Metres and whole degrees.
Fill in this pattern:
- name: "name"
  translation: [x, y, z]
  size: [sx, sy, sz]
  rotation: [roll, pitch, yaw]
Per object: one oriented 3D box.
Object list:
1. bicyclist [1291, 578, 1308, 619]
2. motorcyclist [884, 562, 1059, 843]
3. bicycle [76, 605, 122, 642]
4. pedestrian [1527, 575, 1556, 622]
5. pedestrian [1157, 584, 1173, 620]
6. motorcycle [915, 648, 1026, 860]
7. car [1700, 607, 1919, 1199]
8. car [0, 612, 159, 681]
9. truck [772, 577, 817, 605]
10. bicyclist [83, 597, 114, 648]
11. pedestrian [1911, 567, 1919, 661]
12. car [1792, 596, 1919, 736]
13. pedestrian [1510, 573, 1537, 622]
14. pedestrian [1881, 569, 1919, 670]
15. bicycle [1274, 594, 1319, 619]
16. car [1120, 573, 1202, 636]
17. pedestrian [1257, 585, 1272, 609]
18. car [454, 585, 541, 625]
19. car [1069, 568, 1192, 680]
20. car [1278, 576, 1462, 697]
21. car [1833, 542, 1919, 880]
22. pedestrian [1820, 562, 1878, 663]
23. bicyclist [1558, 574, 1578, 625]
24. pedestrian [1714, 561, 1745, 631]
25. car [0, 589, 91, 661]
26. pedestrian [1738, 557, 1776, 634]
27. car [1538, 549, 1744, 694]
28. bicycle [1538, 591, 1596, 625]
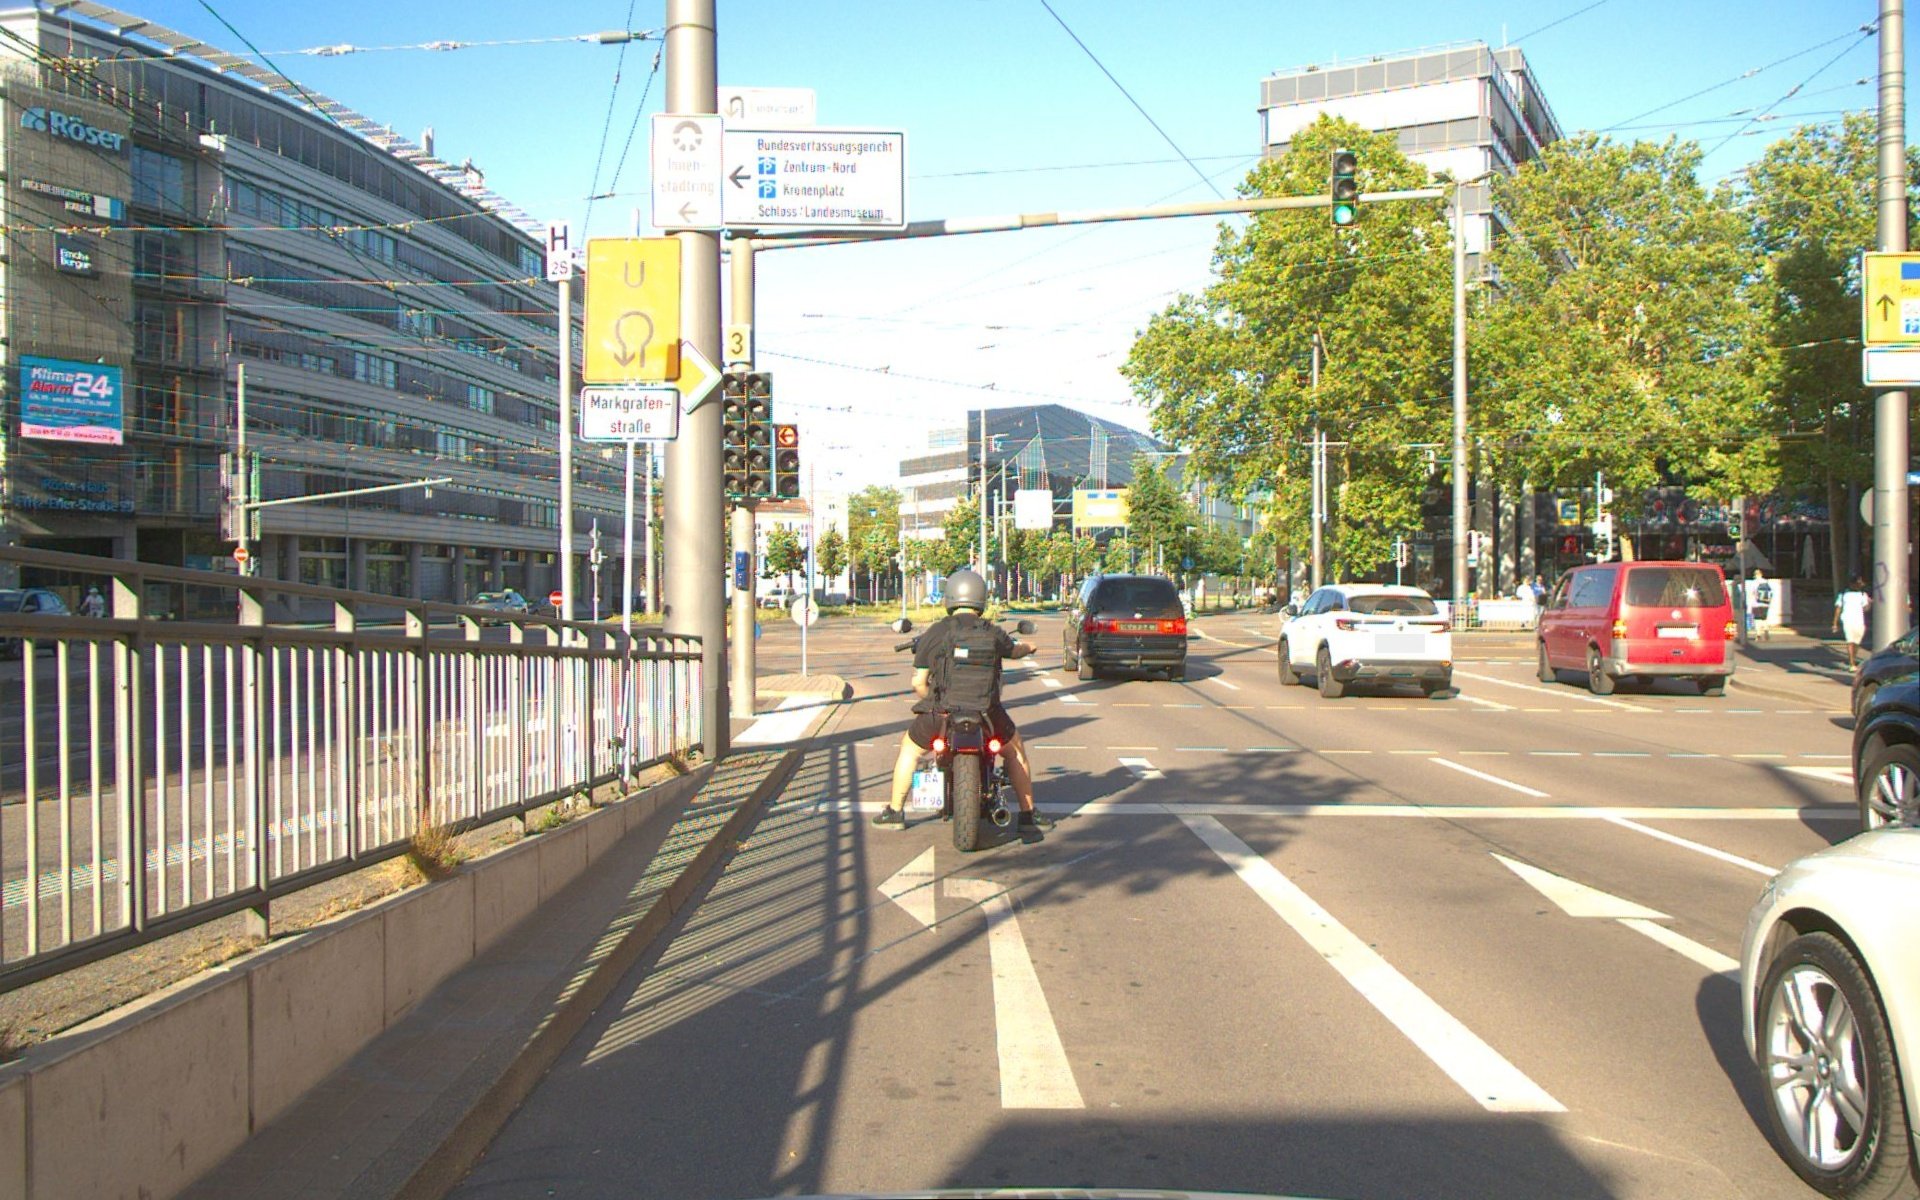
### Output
- name: "bicyclist"
  translation: [14.382, -0.057, 70.058]
  size: [0.673, 1.702, 0.541]
  rotation: [0, -1, 18]
- name: "motorcyclist"
  translation: [0.059, 0.591, 10.032]
  size: [1.009, 1.621, 0.873]
  rotation: [0, 0, -1]
- name: "bicycle"
  translation: [-26.444, 0.714, 50.806]
  size: [0.450, 1.109, 1.814]
  rotation: [-2, 0, 0]
- name: "pedestrian"
  translation: [18.736, -0.038, 53.270]
  size: [0.557, 1.505, 0.699]
  rotation: [1, -1, -17]
- name: "pedestrian"
  translation: [9.112, 0.082, 73.444]
  size: [0.576, 1.584, 0.488]
  rotation: [1, -1, -8]
- name: "motorcycle"
  translation: [0.041, 0.872, 10.107]
  size: [0.588, 1.054, 2.233]
  rotation: [1, 1, -1]
- name: "car"
  translation: [3.053, 0.764, 2.656]
  size: [1.696, 1.482, 4.417]
  rotation: [1, 0, -1]
- name: "car"
  translation: [-14.724, 0.752, 26.991]
  size: [2.835, 1.081, 1.235]
  rotation: [1, 0, -22]
- name: "truck"
  translation: [-11.929, -0.619, 119.520]
  size: [1.951, 1.912, 5.160]
  rotation: [-3, -1, 9]
- name: "bicyclist"
  translation: [-26.463, 0.693, 50.813]
  size: [0.574, 1.560, 0.650]
  rotation: [1, -1, -1]
- name: "pedestrian"
  translation: [18.451, 0.272, 31.314]
  size: [0.611, 1.759, 0.630]
  rotation: [1, -1, 16]
- name: "car"
  translation: [10.918, 0.707, 17.761]
  size: [1.698, 1.475, 4.037]
  rotation: [1, 0, -5]
- name: "pedestrian"
  translation: [18.116, -0.078, 53.185]
  size: [0.555, 1.559, 0.701]
  rotation: [1, -1, -8]
- name: "pedestrian"
  translation: [17.364, 0.354, 30.345]
  size: [0.580, 1.811, 0.682]
  rotation: [-1, -1, 11]
- name: "bicycle"
  translation: [14.250, 0.264, 70.110]
  size: [1.831, 1.062, 0.537]
  rotation: [0, -1, 18]
- name: "car"
  translation: [5.757, 0.139, 47.856]
  size: [1.767, 1.708, 4.039]
  rotation: [1, 0, -2]
- name: "pedestrian"
  translation: [17.659, -0.163, 95.807]
  size: [0.802, 1.337, 0.638]
  rotation: [1, -1, 8]
- name: "car"
  translation: [-19.813, 0.211, 71.040]
  size: [1.786, 1.596, 4.698]
  rotation: [-1, 0, 9]
- name: "car"
  translation: [2.791, 0.383, 27.773]
  size: [1.766, 1.708, 4.042]
  rotation: [1, 0, 2]
- name: "car"
  translation: [6.021, 0.513, 24.753]
  size: [1.696, 1.626, 4.040]
  rotation: [1, 0, -1]
- name: "car"
  translation: [5.980, 0.584, 7.143]
  size: [1.698, 1.762, 4.607]
  rotation: [1, 0, -5]
- name: "pedestrian"
  translation: [16.423, 0.242, 30.563]
  size: [0.581, 1.811, 0.681]
  rotation: [-3, -1, -3]
- name: "bicyclist"
  translation: [22.606, -0.007, 61.507]
  size: [0.572, 1.870, 0.402]
  rotation: [1, -1, -1]
- name: "pedestrian"
  translation: [19.369, -0.096, 41.634]
  size: [0.626, 1.729, 0.723]
  rotation: [1, -1, 19]
- name: "car"
  translation: [-21.998, 0.574, 38.310]
  size: [1.789, 1.596, 4.237]
  rotation: [-1, 0, -5]
- name: "pedestrian"
  translation: [20.265, -0.118, 42.061]
  size: [0.774, 1.931, 0.817]
  rotation: [1, -1, 19]
- name: "car"
  translation: [10.555, 0.325, 25.972]
  size: [1.765, 2.044, 4.476]
  rotation: [-1, 0, 6]
- name: "bicycle"
  translation: [22.580, 0.307, 61.505]
  size: [2.001, 1.235, 0.421]
  rotation: [1, -1, -1]
